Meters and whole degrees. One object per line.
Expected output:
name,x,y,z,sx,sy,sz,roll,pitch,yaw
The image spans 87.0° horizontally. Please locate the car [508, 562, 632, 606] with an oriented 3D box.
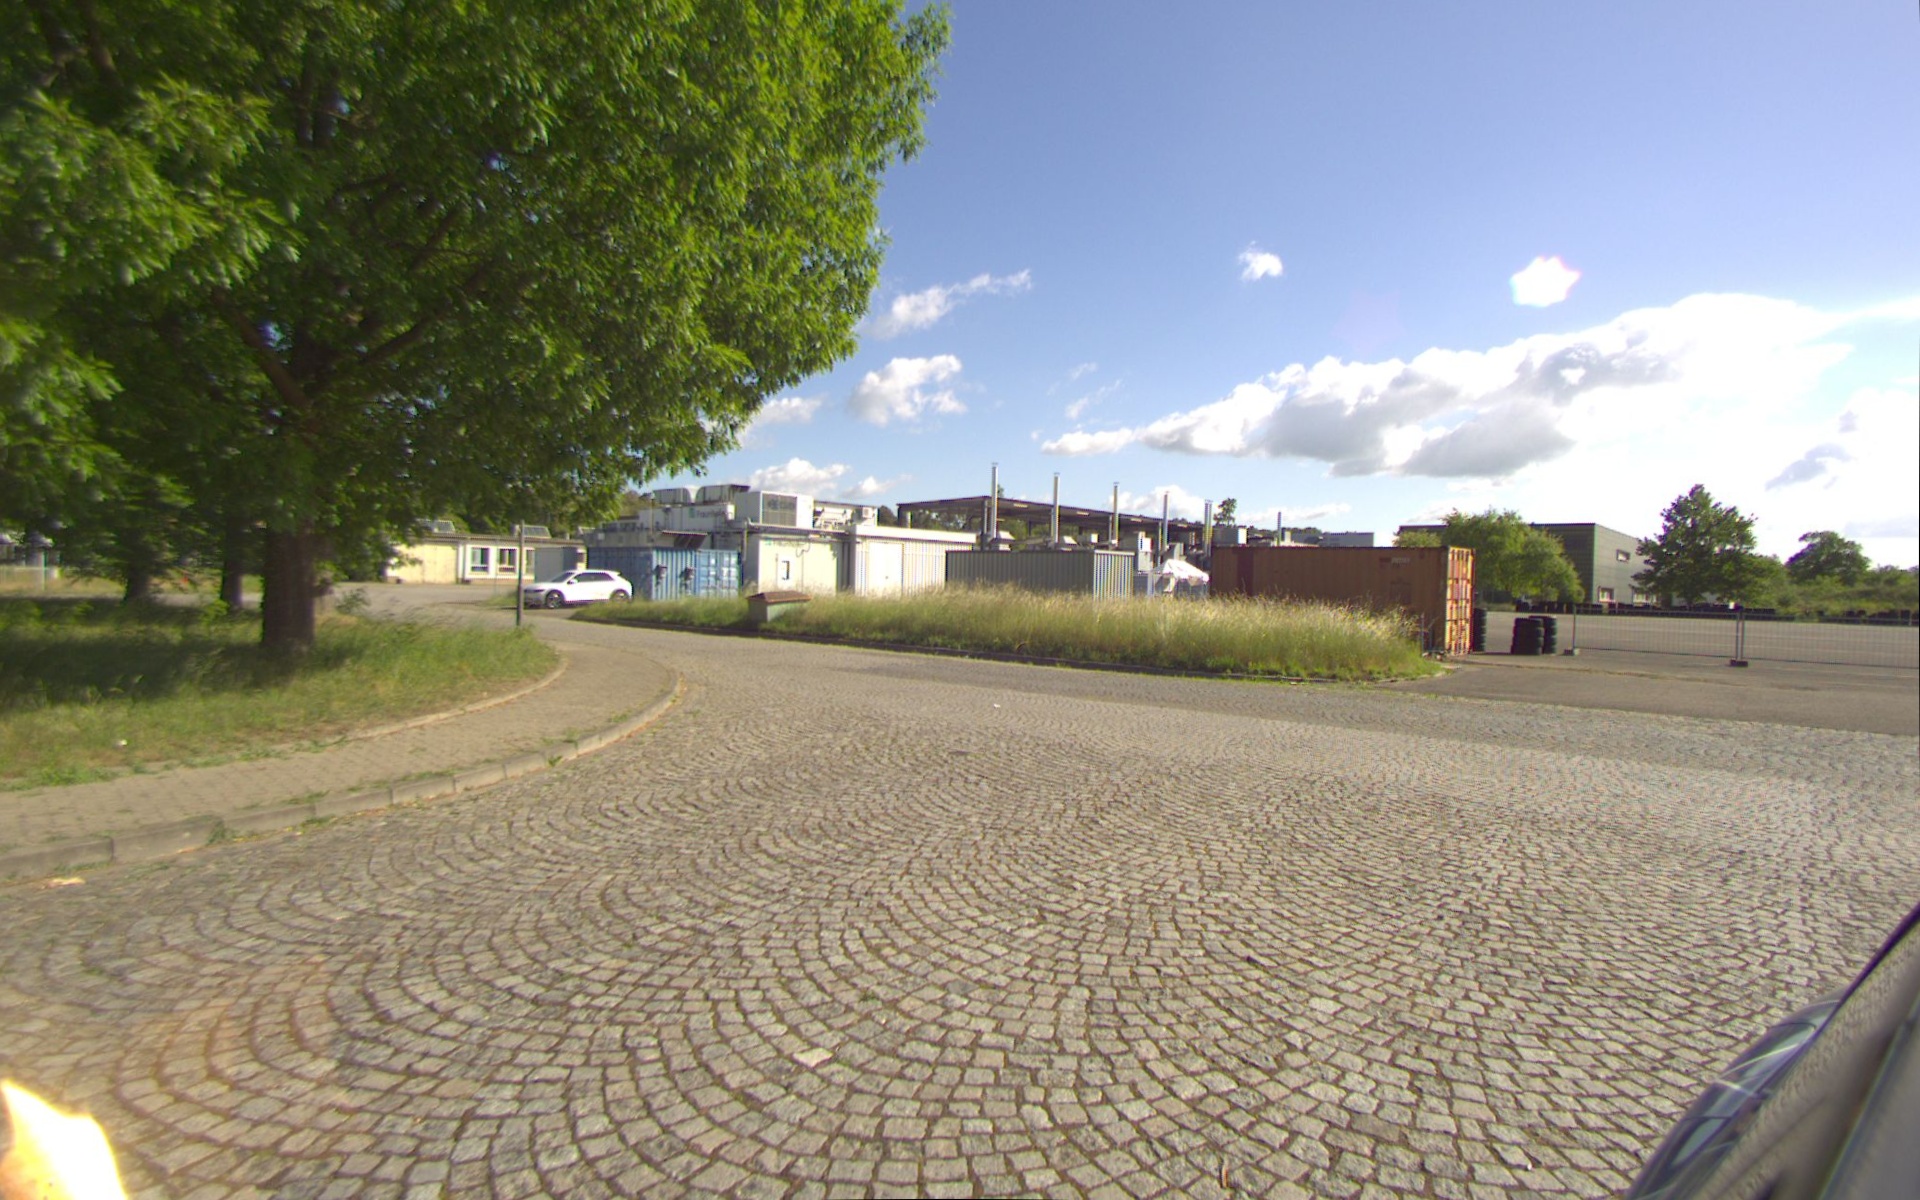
car,-16.248,-0.656,42.337,1.867,1.698,4.535,2,2,41
